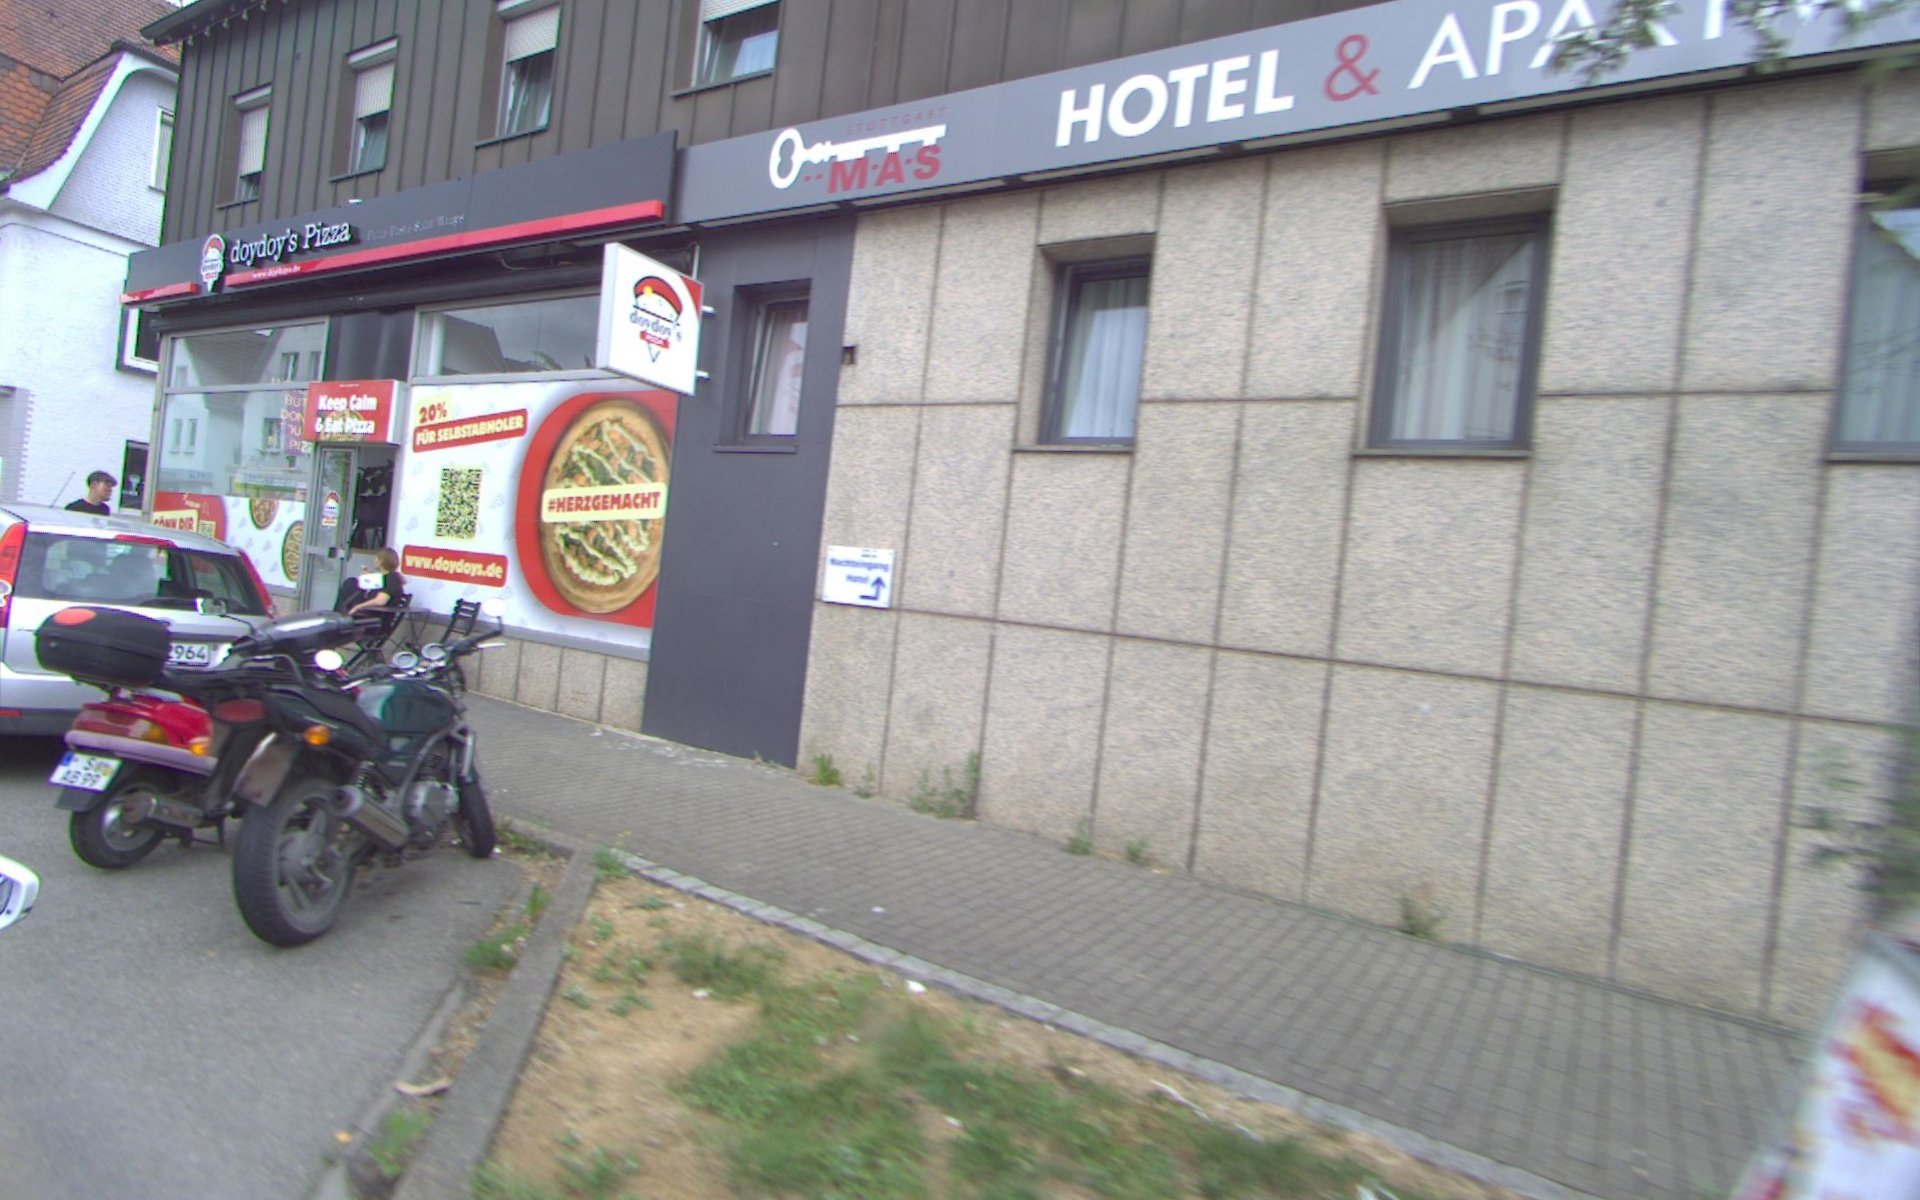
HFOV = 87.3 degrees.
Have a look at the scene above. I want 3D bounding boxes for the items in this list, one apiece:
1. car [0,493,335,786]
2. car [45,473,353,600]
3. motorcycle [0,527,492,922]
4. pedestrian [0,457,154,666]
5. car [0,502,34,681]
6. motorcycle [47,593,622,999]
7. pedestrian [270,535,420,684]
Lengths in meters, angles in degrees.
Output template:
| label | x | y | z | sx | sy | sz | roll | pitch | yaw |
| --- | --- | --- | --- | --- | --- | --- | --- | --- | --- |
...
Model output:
| label | x | y | z | sx | sy | sz | roll | pitch | yaw |
| --- | --- | --- | --- | --- | --- | --- | --- | --- | --- |
| car | -6.019 | 0.084 | 6.523 | 3.826 | 1.446 | 1.704 | 6 | -1 | 31 |
| car | -13.535 | -1.069 | 18.143 | 1.660 | 1.584 | 3.987 | 7 | -2 | 32 |
| motorcycle | -3.386 | 0.474 | 4.939 | 0.687 | 1.351 | 2.718 | 7 | -1 | 2 |
| pedestrian | -8.945 | -0.374 | 10.151 | 0.885 | 1.951 | 0.858 | 7 | -1 | 32 |
| car | -10.115 | -0.329 | 8.864 | 4.168 | 1.484 | 1.704 | 6 | -1 | 32 |
| motorcycle | -2.437 | 0.663 | 4.544 | 0.687 | 1.197 | 2.739 | 7 | -2 | 2 |
| pedestrian | -6.000 | 0.081 | 9.831 | 0.951 | 1.318 | 0.887 | 7 | 4 | 32 |
